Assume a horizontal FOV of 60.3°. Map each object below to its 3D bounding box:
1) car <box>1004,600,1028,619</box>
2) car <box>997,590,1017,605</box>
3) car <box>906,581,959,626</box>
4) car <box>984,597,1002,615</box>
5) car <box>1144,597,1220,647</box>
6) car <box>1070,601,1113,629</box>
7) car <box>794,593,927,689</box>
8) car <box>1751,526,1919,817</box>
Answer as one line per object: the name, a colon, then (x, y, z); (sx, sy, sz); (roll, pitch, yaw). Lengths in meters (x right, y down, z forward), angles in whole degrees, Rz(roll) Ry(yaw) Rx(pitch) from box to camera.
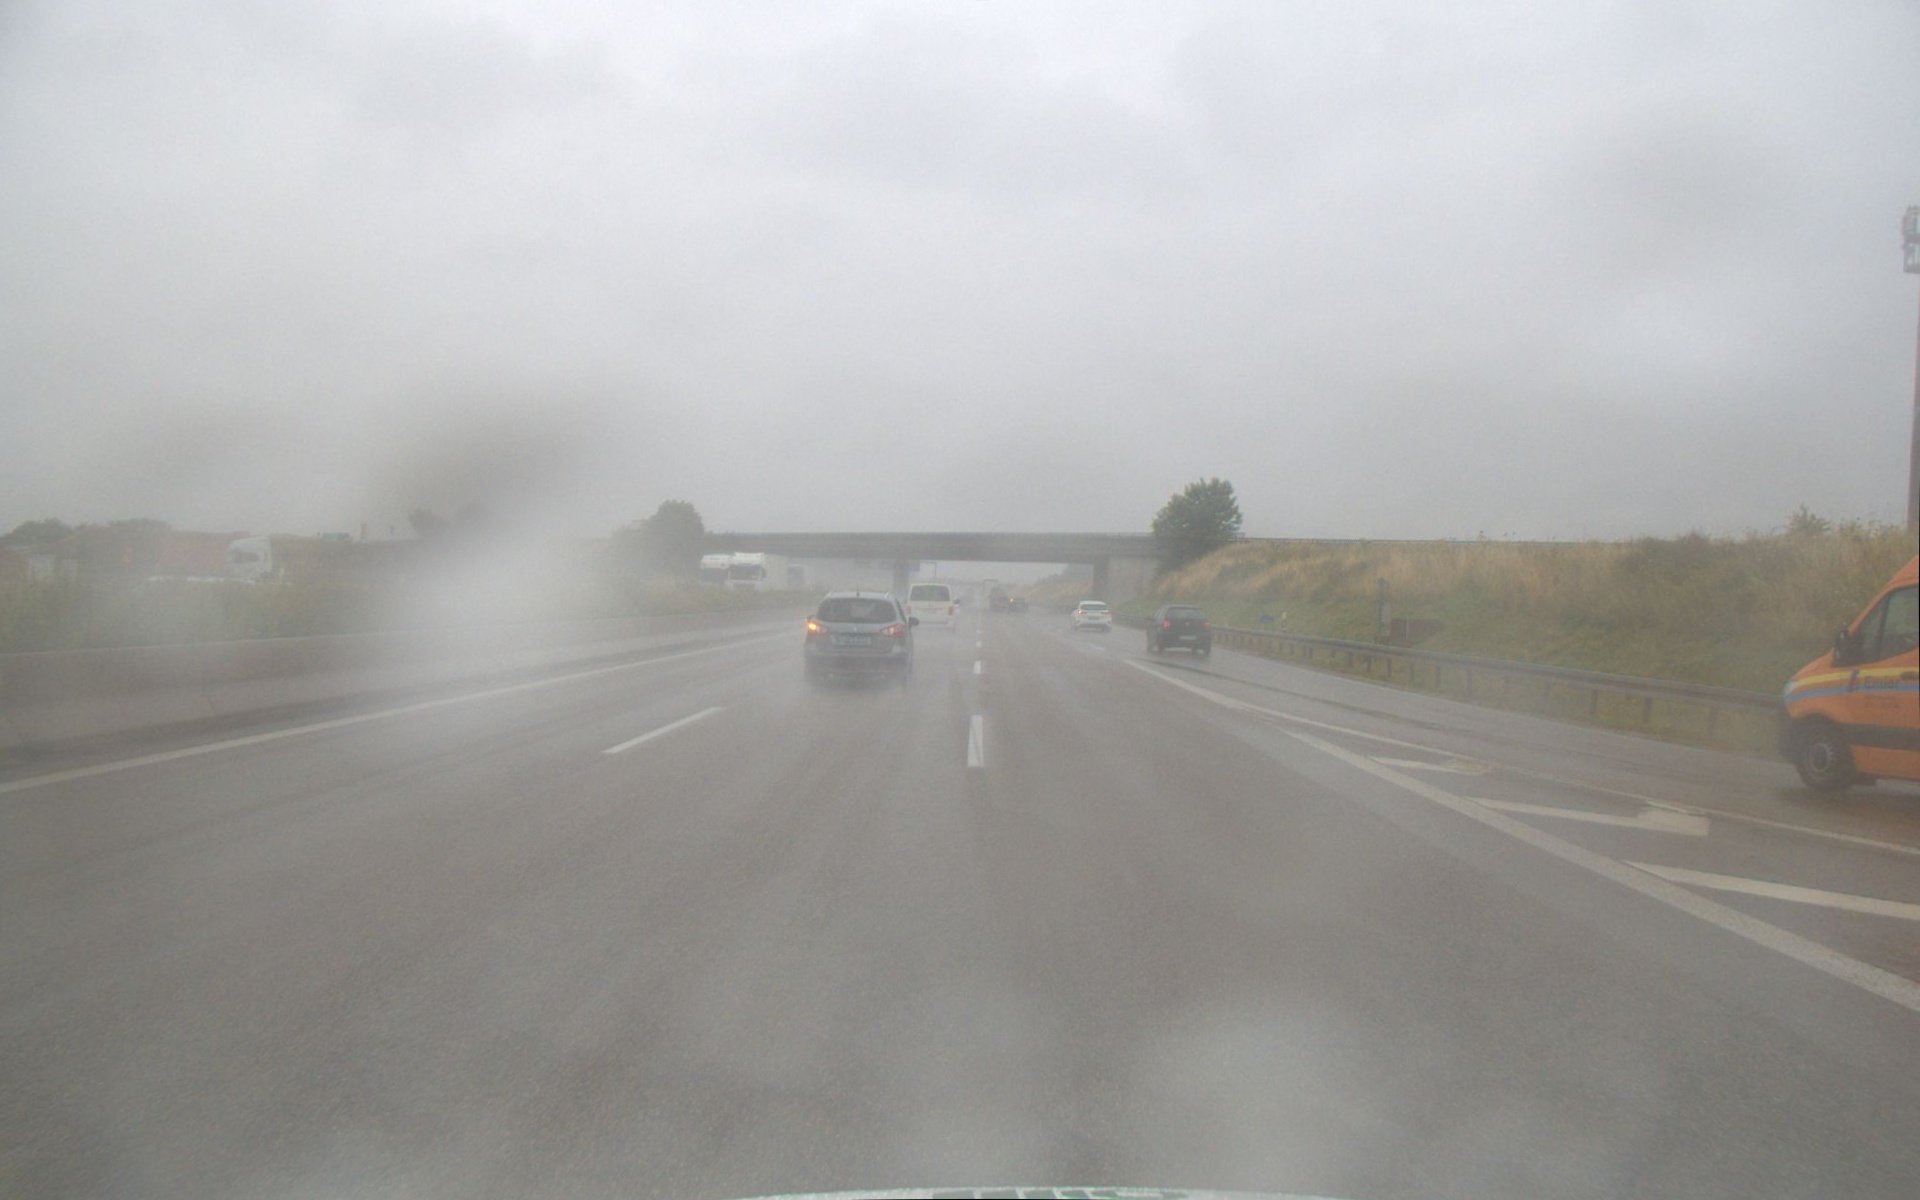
car: (4.868, 0.833, 143.840); (1.764, 1.534, 3.998); (1, 0, -2)
car: (4.890, -0.273, 172.642); (1.952, 1.489, 4.000); (1, 0, 0)
car: (-1.007, 0.130, 62.948); (1.858, 1.613, 4.000); (1, 0, 1)
car: (3.922, 0.696, 196.269); (1.953, 2.138, 3.998); (1, 0, -2)
car: (6.806, 0.639, 50.999); (1.697, 1.446, 3.656); (1, 0, -2)
car: (6.411, 0.732, 80.923); (1.952, 1.288, 4.001); (1, 0, 3)
car: (-1.681, 0.668, 29.429); (1.808, 1.539, 4.758); (1, 0, 3)
car: (10.092, 0.718, 14.142); (2.026, 2.661, 6.861); (3, 0, -14)
